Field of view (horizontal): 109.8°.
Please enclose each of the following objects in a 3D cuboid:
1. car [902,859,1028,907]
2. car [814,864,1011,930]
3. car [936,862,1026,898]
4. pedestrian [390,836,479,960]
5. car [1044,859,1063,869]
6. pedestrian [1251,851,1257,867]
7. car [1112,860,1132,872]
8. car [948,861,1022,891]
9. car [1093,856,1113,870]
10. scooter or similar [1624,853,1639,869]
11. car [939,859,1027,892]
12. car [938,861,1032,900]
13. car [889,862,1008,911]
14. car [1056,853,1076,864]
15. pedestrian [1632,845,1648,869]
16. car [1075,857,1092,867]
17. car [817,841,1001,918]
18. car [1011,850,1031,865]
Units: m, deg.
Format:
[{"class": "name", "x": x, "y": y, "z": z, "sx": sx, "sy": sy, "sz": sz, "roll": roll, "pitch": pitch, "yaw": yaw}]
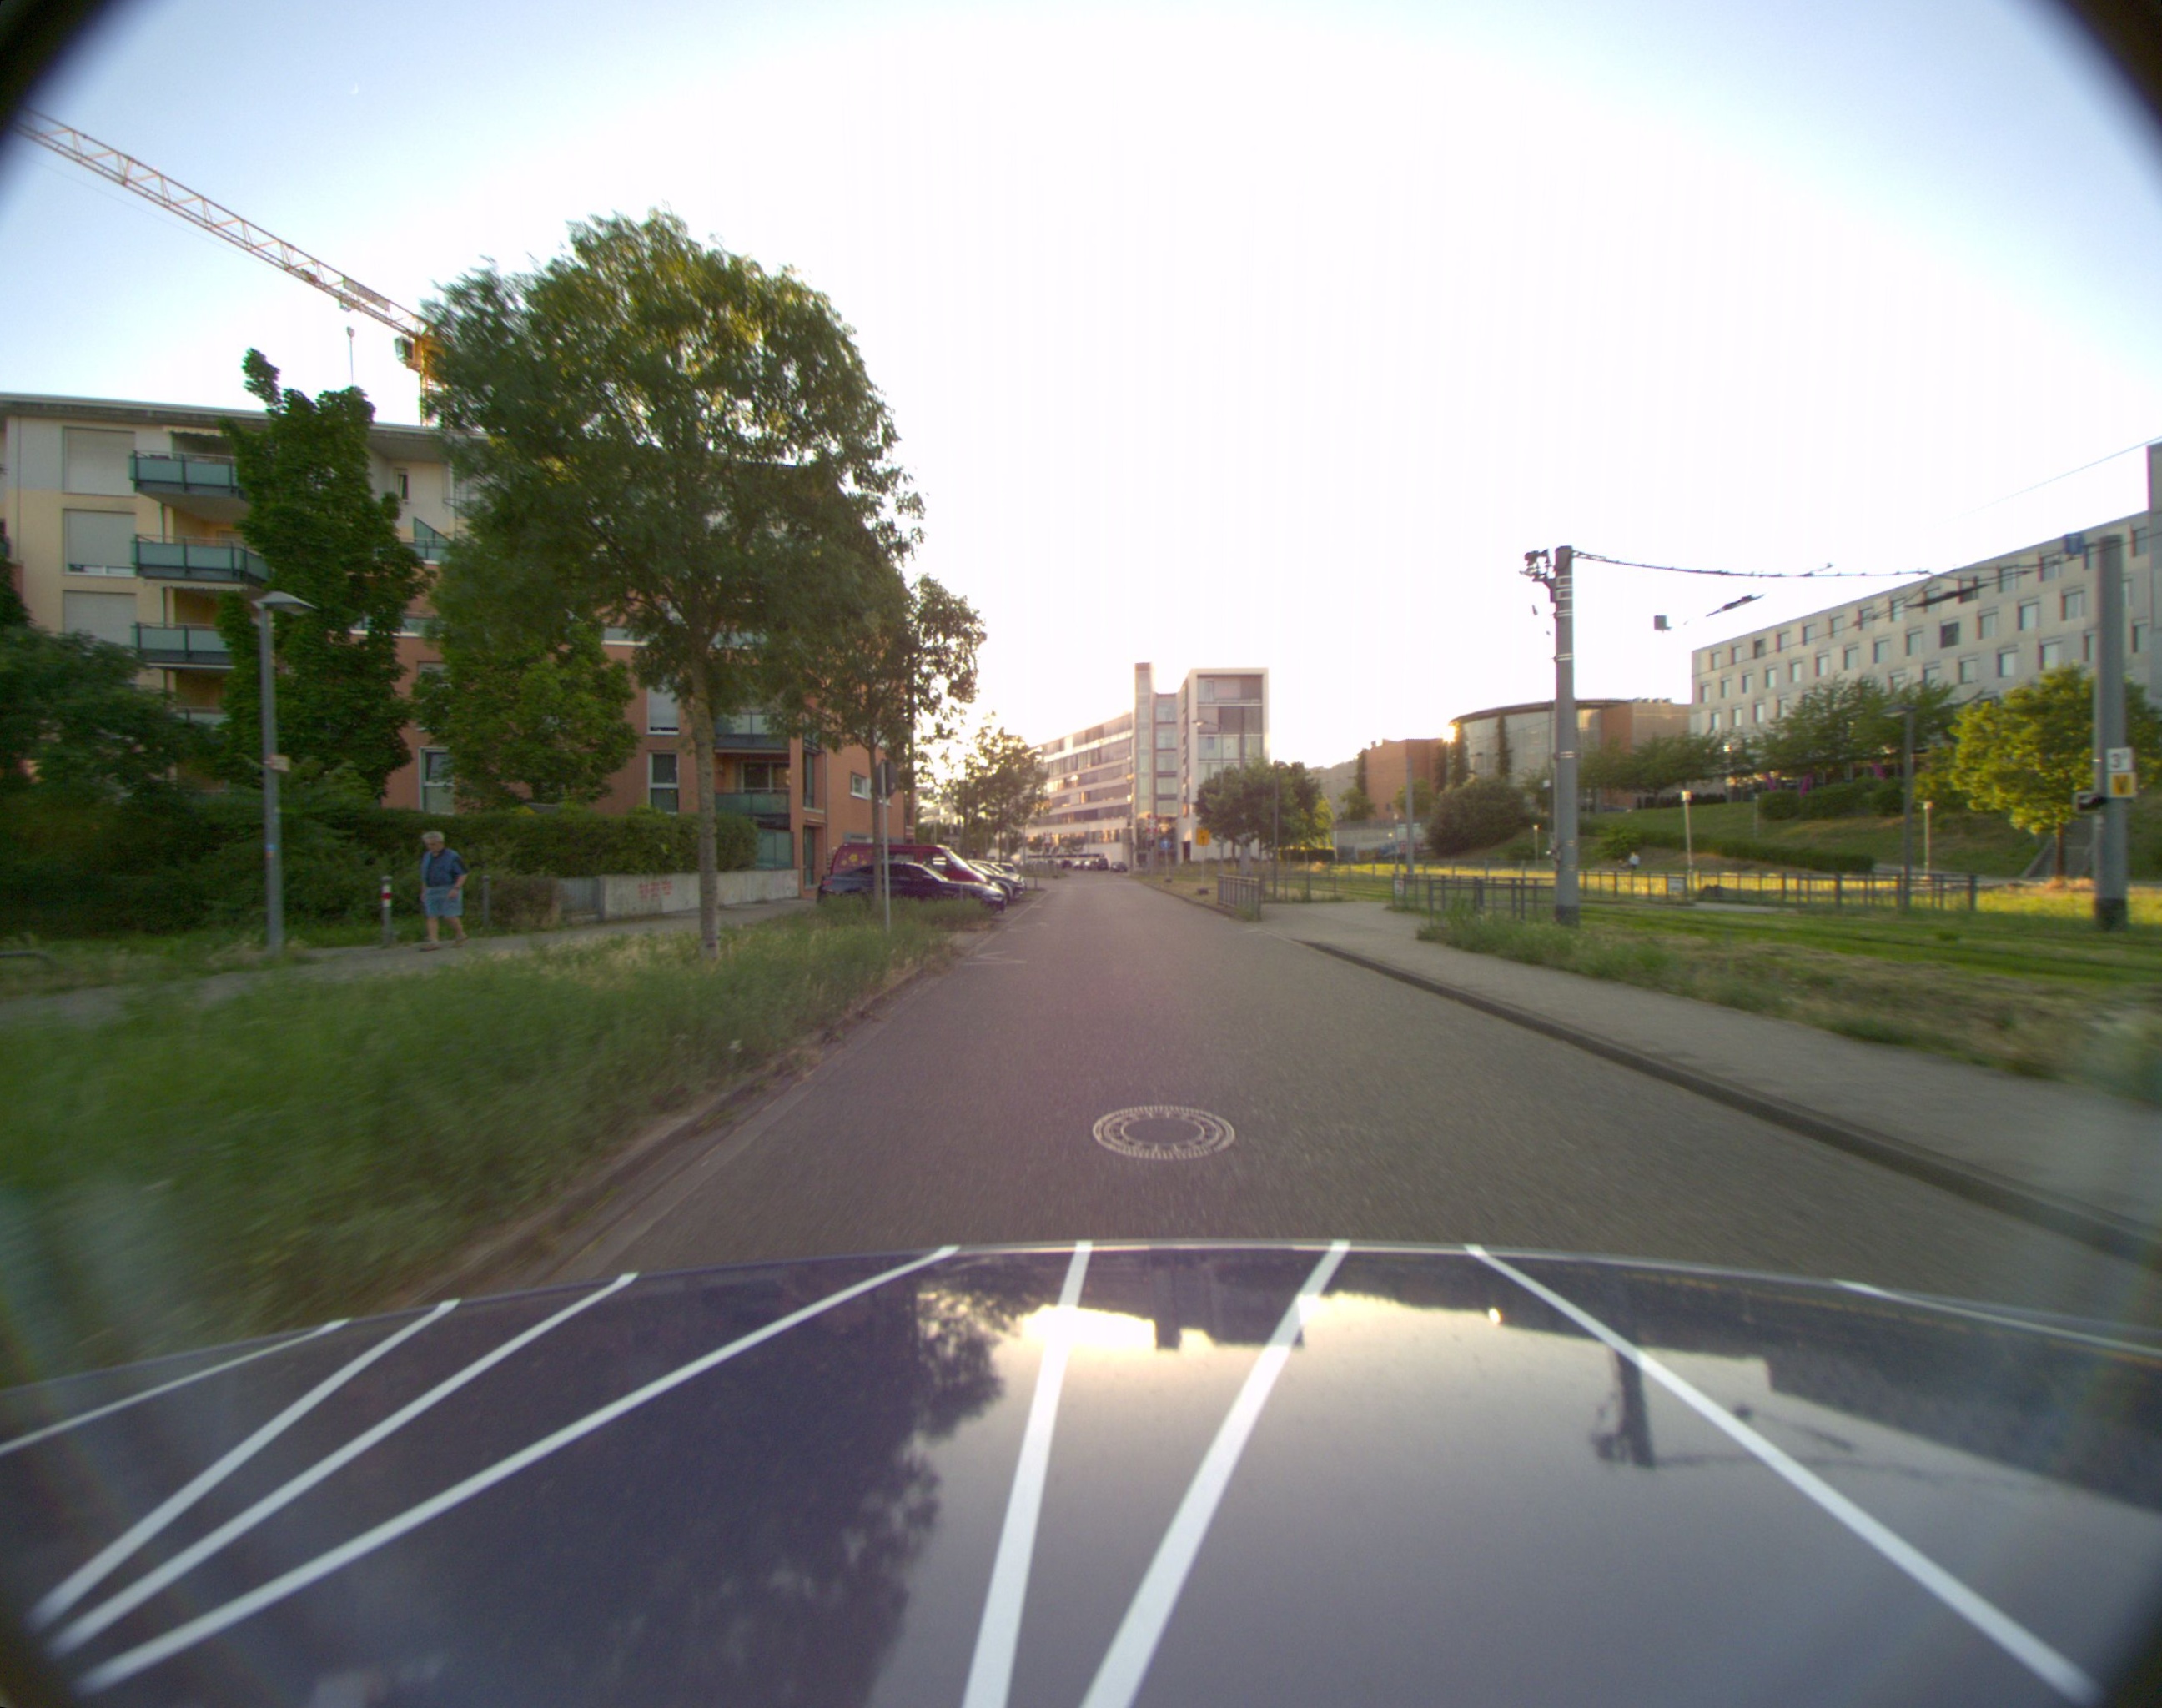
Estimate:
[{"class": "car", "x": -4.095, "y": 1.018, "z": 27.272, "sx": 4.226, "sy": 1.559, "sz": 1.792, "roll": 1, "pitch": 0, "yaw": 1}, {"class": "car", "x": -4.230, "y": 1.071, "z": 19.635, "sx": 4.681, "sy": 1.547, "sz": 1.811, "roll": -1, "pitch": 0, "yaw": -1}, {"class": "car", "x": -4.554, "y": 1.175, "z": 34.902, "sx": 3.886, "sy": 1.559, "sz": 1.620, "roll": -1, "pitch": 0, "yaw": 1}, {"class": "pedestrian", "x": -9.358, "y": 0.622, "z": 11.020, "sx": 0.670, "sy": 1.733, "sz": 0.699, "roll": -1, "pitch": 0, "yaw": 0}, {"class": "car", "x": -4.945, "y": 1.790, "z": 135.324, "sx": 1.800, "sy": 1.542, "sz": 3.991, "roll": -3, "pitch": 1, "yaw": -27}, {"class": "pedestrian", "x": 20.116, "y": 0.616, "z": 88.229, "sx": 0.450, "sy": 1.826, "sz": 0.483, "roll": -3, "pitch": 0, "yaw": -20}, {"class": "car", "x": 5.395, "y": 1.609, "z": 100.458, "sx": 1.858, "sy": 1.433, "sz": 4.225, "roll": -3, "pitch": 0, "yaw": -9}, {"class": "car", "x": -4.996, "y": 1.150, "z": 39.911, "sx": 3.760, "sy": 1.465, "sz": 1.612, "roll": -1, "pitch": 0, "yaw": -4}, {"class": "car", "x": 3.187, "y": 1.310, "z": 111.710, "sx": 1.895, "sy": 1.961, "sz": 4.514, "roll": -3, "pitch": 0, "yaw": -10}, {"class": "scooter or similar", "x": 43.571, "y": 0.562, "z": 60.130, "sx": 0.618, "sy": 1.236, "sz": 0.790, "roll": -3, "pitch": 0, "yaw": -1}, {"class": "car", "x": -4.780, "y": 1.043, "z": 37.435, "sx": 4.060, "sy": 1.559, "sz": 1.673, "roll": 1, "pitch": 0, "yaw": 1}, {"class": "car", "x": -4.019, "y": 1.114, "z": 32.255, "sx": 3.783, "sy": 1.487, "sz": 1.538, "roll": -1, "pitch": 2, "yaw": 0}, {"class": "car", "x": -4.224, "y": 1.026, "z": 24.659, "sx": 3.534, "sy": 1.456, "sz": 1.615, "roll": 1, "pitch": 0, "yaw": 1}, {"class": "car", "x": -2.515, "y": 0.768, "z": 129.154, "sx": 1.800, "sy": 1.676, "sz": 3.991, "roll": -1, "pitch": 0, "yaw": -28}, {"class": "pedestrian", "x": 43.593, "y": 0.221, "z": 59.277, "sx": 0.618, "sy": 1.826, "sz": 0.790, "roll": -3, "pitch": 0, "yaw": -1}, {"class": "car", "x": 0.392, "y": 1.240, "z": 120.191, "sx": 1.655, "sy": 1.468, "sz": 3.760, "roll": 0, "pitch": 0, "yaw": -19}, {"class": "car", "x": -4.974, "y": 0.730, "z": 22.466, "sx": 4.931, "sy": 2.104, "sz": 2.017, "roll": -1, "pitch": 0, "yaw": 2}, {"class": "car", "x": -11.711, "y": 0.670, "z": 148.081, "sx": 2.008, "sy": 2.858, "sz": 6.243, "roll": 1, "pitch": -1, "yaw": -24}]
